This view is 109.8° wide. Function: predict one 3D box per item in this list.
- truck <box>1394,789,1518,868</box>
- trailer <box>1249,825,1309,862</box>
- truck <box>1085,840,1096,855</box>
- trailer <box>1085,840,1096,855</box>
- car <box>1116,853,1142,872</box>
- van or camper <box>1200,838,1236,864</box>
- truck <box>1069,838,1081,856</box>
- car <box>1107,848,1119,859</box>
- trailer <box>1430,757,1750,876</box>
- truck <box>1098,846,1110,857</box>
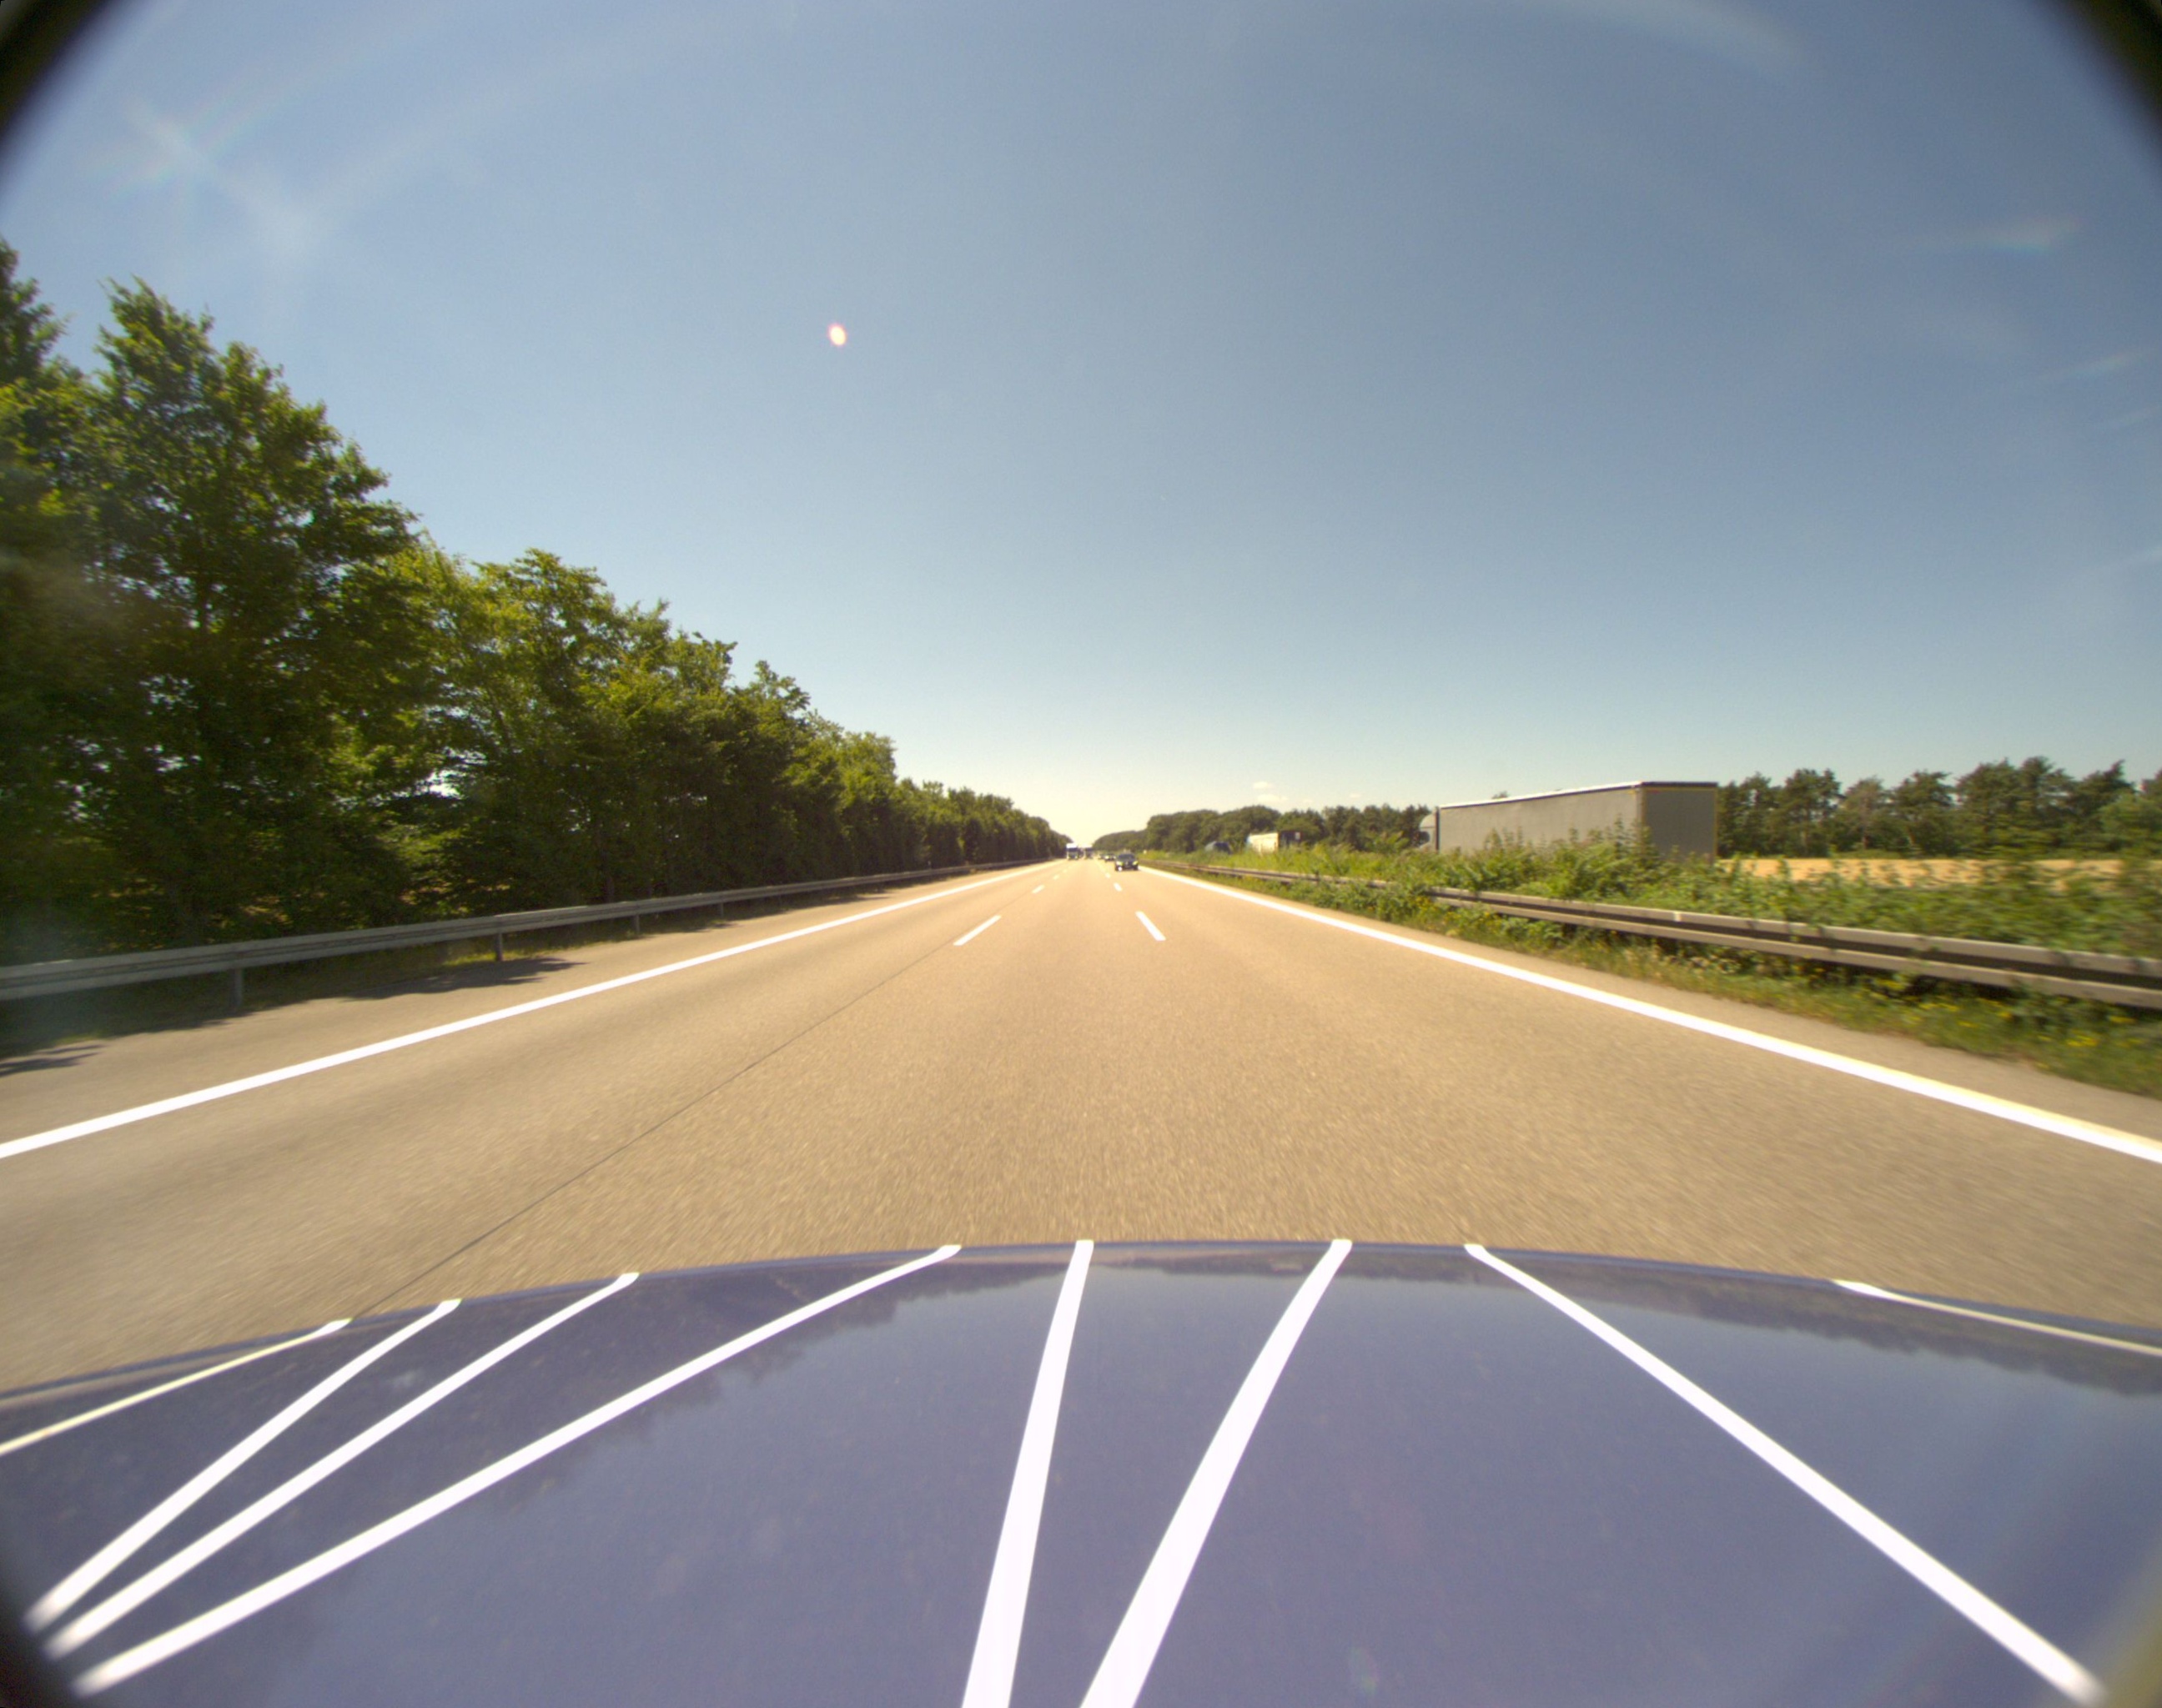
[{"bbox_3d":[19.481,-1.261,39.929,3.358,3.677,6.063,-2,0,-1],"label":"truck"},{"bbox_3d":[22.005,-1.090,85.559,3.117,3.677,14.382,-2,0,1],"label":"trailer"},{"bbox_3d":[2.750,-1.783,213.279,2.863,4.247,5.411,-2,0,0],"label":"truck"},{"bbox_3d":[2.769,-1.812,219.643,2.863,4.247,11.471,-2,0,0],"label":"trailer"},{"bbox_3d":[3.939,0.673,63.404,1.811,1.399,3.999,-3,0,0],"label":"car"},{"bbox_3d":[17.440,-0.441,97.239,2.617,3.083,11.510,-1,0,1],"label":"van or camper"},{"bbox_3d":[-1.524,-1.759,187.283,2.863,4.247,6.863,-2,0,-1],"label":"truck"},{"bbox_3d":[5.191,-0.045,124.311,1.806,1.774,4.000,-1,1,1],"label":"car"},{"bbox_3d":[19.599,-1.227,31.486,3.358,3.677,14.380,-2,0,-1],"label":"trailer"},{"bbox_3d":[5.428,-0.618,179.339,2.576,2.461,5.614,-2,0,0],"label":"truck"}]
